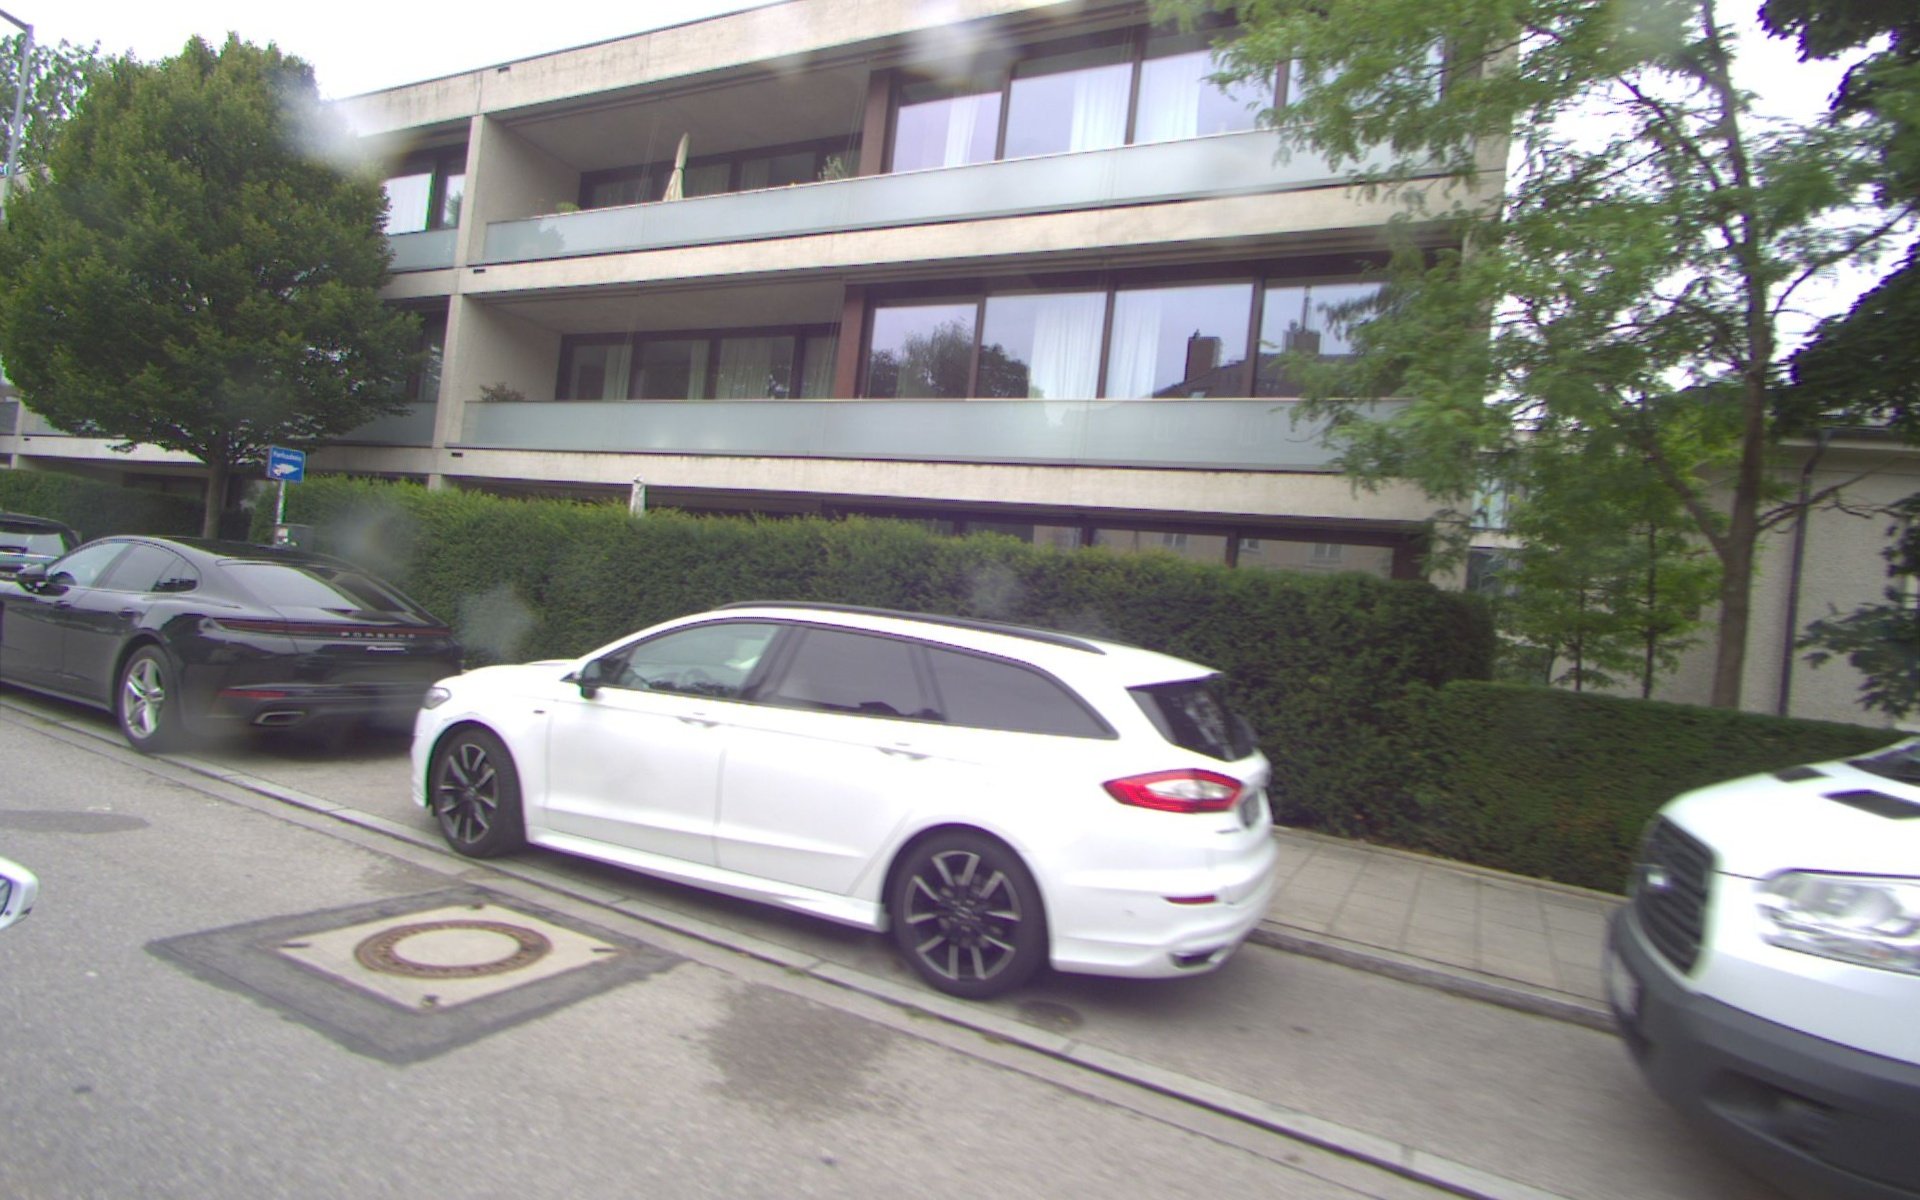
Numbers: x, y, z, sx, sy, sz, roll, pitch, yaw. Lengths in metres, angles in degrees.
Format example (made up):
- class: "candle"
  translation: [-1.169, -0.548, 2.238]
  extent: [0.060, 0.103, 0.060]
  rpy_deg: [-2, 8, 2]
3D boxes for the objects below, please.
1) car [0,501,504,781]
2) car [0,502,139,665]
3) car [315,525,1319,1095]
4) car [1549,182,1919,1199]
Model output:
- class: "car"
  translation: [-6.259, 0.137, 8.094]
  extent: [5.116, 1.500, 1.880]
  rpy_deg: [7, 1, 27]
- class: "car"
  translation: [-10.896, -0.344, 10.735]
  extent: [4.131, 1.548, 1.730]
  rpy_deg: [6, 0, 27]
- class: "car"
  translation: [-0.852, 0.691, 5.324]
  extent: [4.911, 1.589, 1.875]
  rpy_deg: [7, 1, 25]
- class: "car"
  translation: [4.929, 0.727, 2.091]
  extent: [5.980, 2.720, 2.084]
  rpy_deg: [7, 1, 26]
